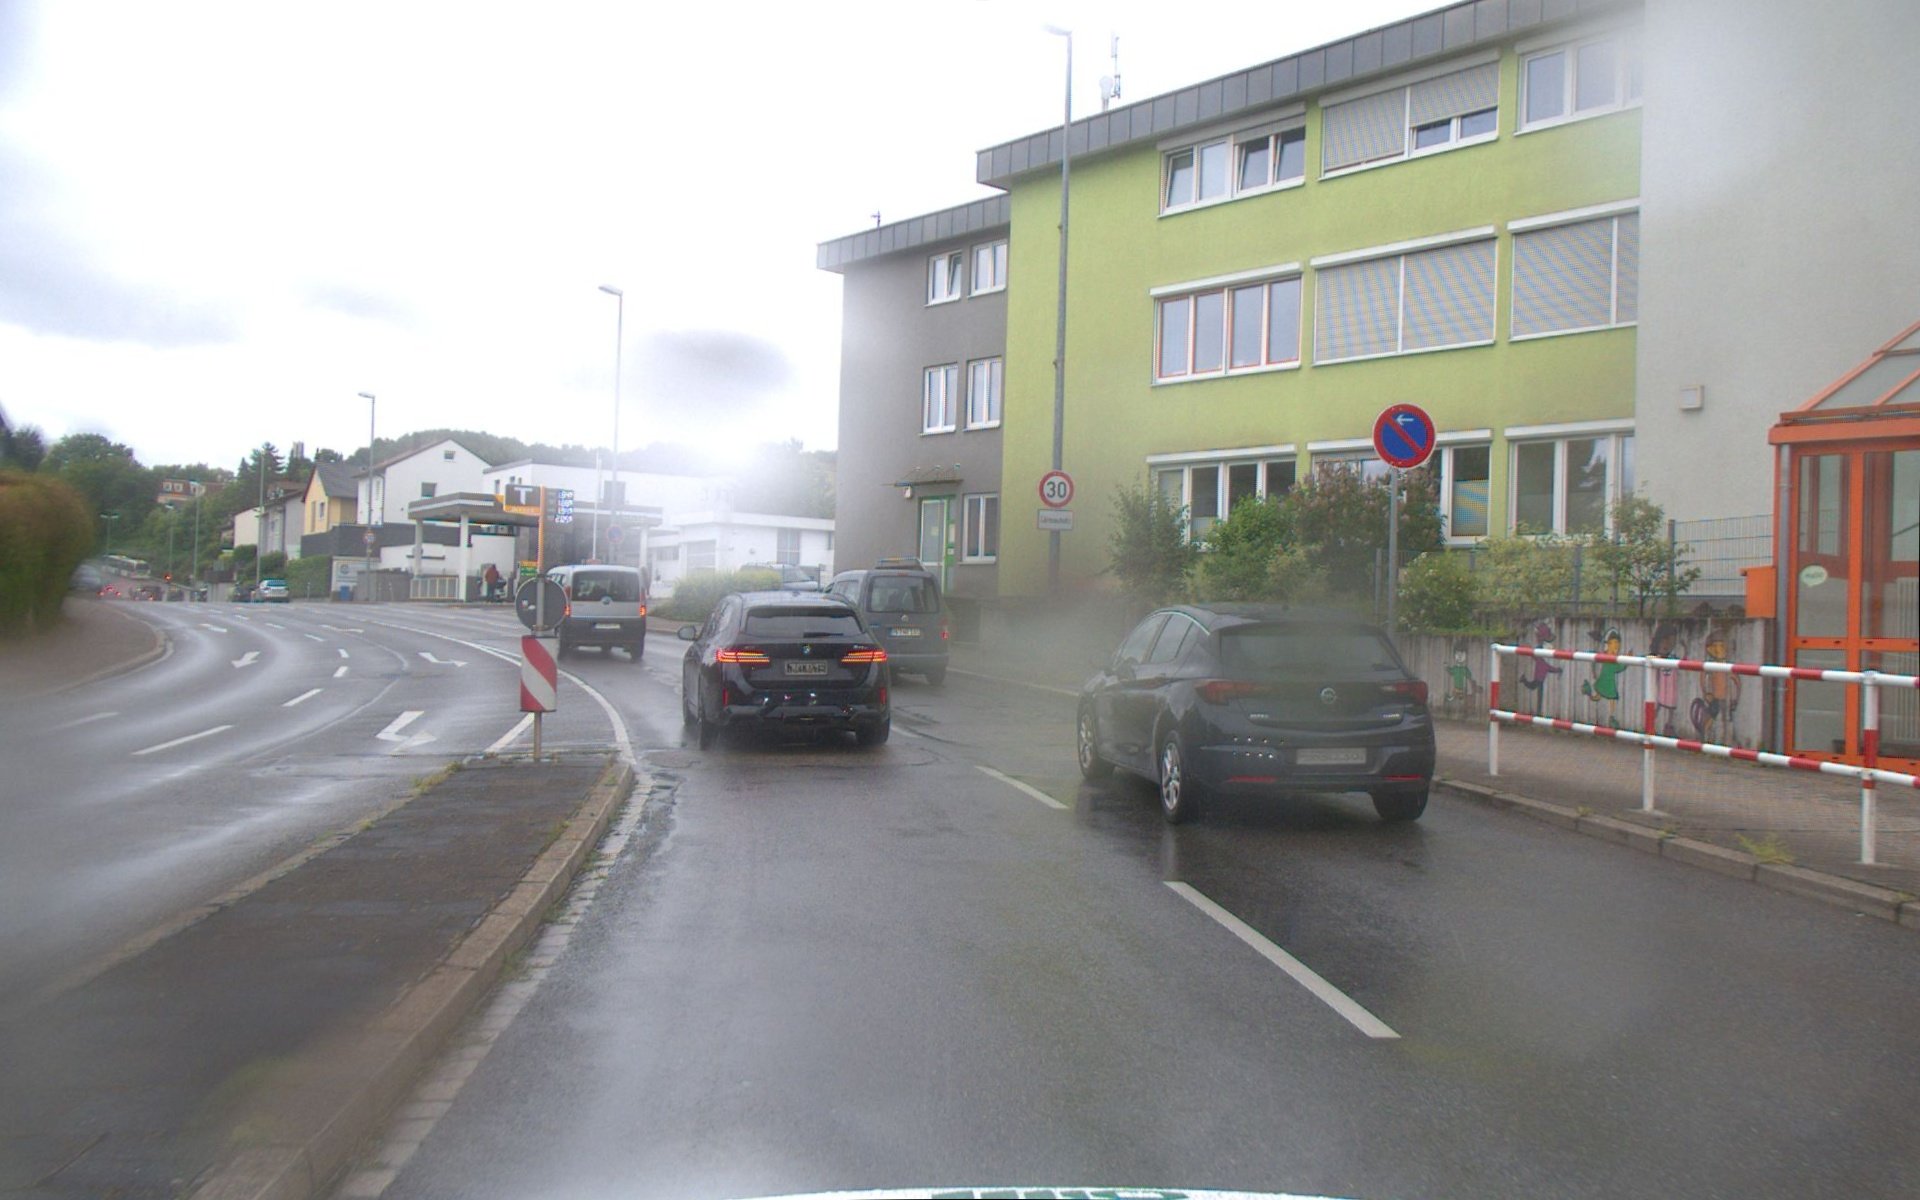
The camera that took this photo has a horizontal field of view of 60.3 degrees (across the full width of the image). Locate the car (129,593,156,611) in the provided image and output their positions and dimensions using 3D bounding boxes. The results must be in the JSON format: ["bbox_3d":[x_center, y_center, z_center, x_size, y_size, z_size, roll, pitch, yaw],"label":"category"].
[{"bbox_3d":[-83.070,0.241,168.113,1.975,1.771,3.954,2,-2,-33],"label":"car"}]

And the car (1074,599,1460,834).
[{"bbox_3d":[2.097,0.747,12.471,1.723,1.475,3.994,1,0,-7],"label":"car"}]

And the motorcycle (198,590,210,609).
[{"bbox_3d":[-63.915,-0.027,139.867,0.696,1.536,2.127,-1,0,-31],"label":"motorcycle"}]

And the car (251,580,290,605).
[{"bbox_3d":[-45.898,-0.476,110.005,1.684,1.536,4.485,2,-2,-32],"label":"car"}]

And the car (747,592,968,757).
[{"bbox_3d":[-1.194,0.734,17.306,1.956,1.510,3.992,1,-1,-9],"label":"car"}]

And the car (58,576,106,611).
[{"bbox_3d":[-39.645,-0.256,74.658,1.732,1.465,4.087,2,-2,-30],"label":"car"}]

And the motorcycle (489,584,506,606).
[{"bbox_3d":[-23.242,-0.271,83.057,0.457,1.074,1.376,2,-2,-31],"label":"motorcycle"}]

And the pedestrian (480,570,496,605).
[{"bbox_3d":[-23.698,-0.625,83.057,0.603,1.685,0.580,2,-2,-30],"label":"pedestrian"}]

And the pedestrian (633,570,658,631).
[{"bbox_3d":[-10.629,0.023,55.868,0.706,2.049,0.610,1,-2,-23],"label":"pedestrian"}]

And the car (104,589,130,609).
[{"bbox_3d":[-76.172,-0.083,149.433,1.970,1.771,3.964,1,-1,-27],"label":"car"}]

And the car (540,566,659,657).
[{"bbox_3d":[-7.623,0.274,34.728,1.963,1.768,3.978,1,-1,-19],"label":"car"}]

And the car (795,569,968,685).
[{"bbox_3d":[-1.404,0.462,27.791,1.811,1.798,3.976,1,-1,-20],"label":"car"}]
